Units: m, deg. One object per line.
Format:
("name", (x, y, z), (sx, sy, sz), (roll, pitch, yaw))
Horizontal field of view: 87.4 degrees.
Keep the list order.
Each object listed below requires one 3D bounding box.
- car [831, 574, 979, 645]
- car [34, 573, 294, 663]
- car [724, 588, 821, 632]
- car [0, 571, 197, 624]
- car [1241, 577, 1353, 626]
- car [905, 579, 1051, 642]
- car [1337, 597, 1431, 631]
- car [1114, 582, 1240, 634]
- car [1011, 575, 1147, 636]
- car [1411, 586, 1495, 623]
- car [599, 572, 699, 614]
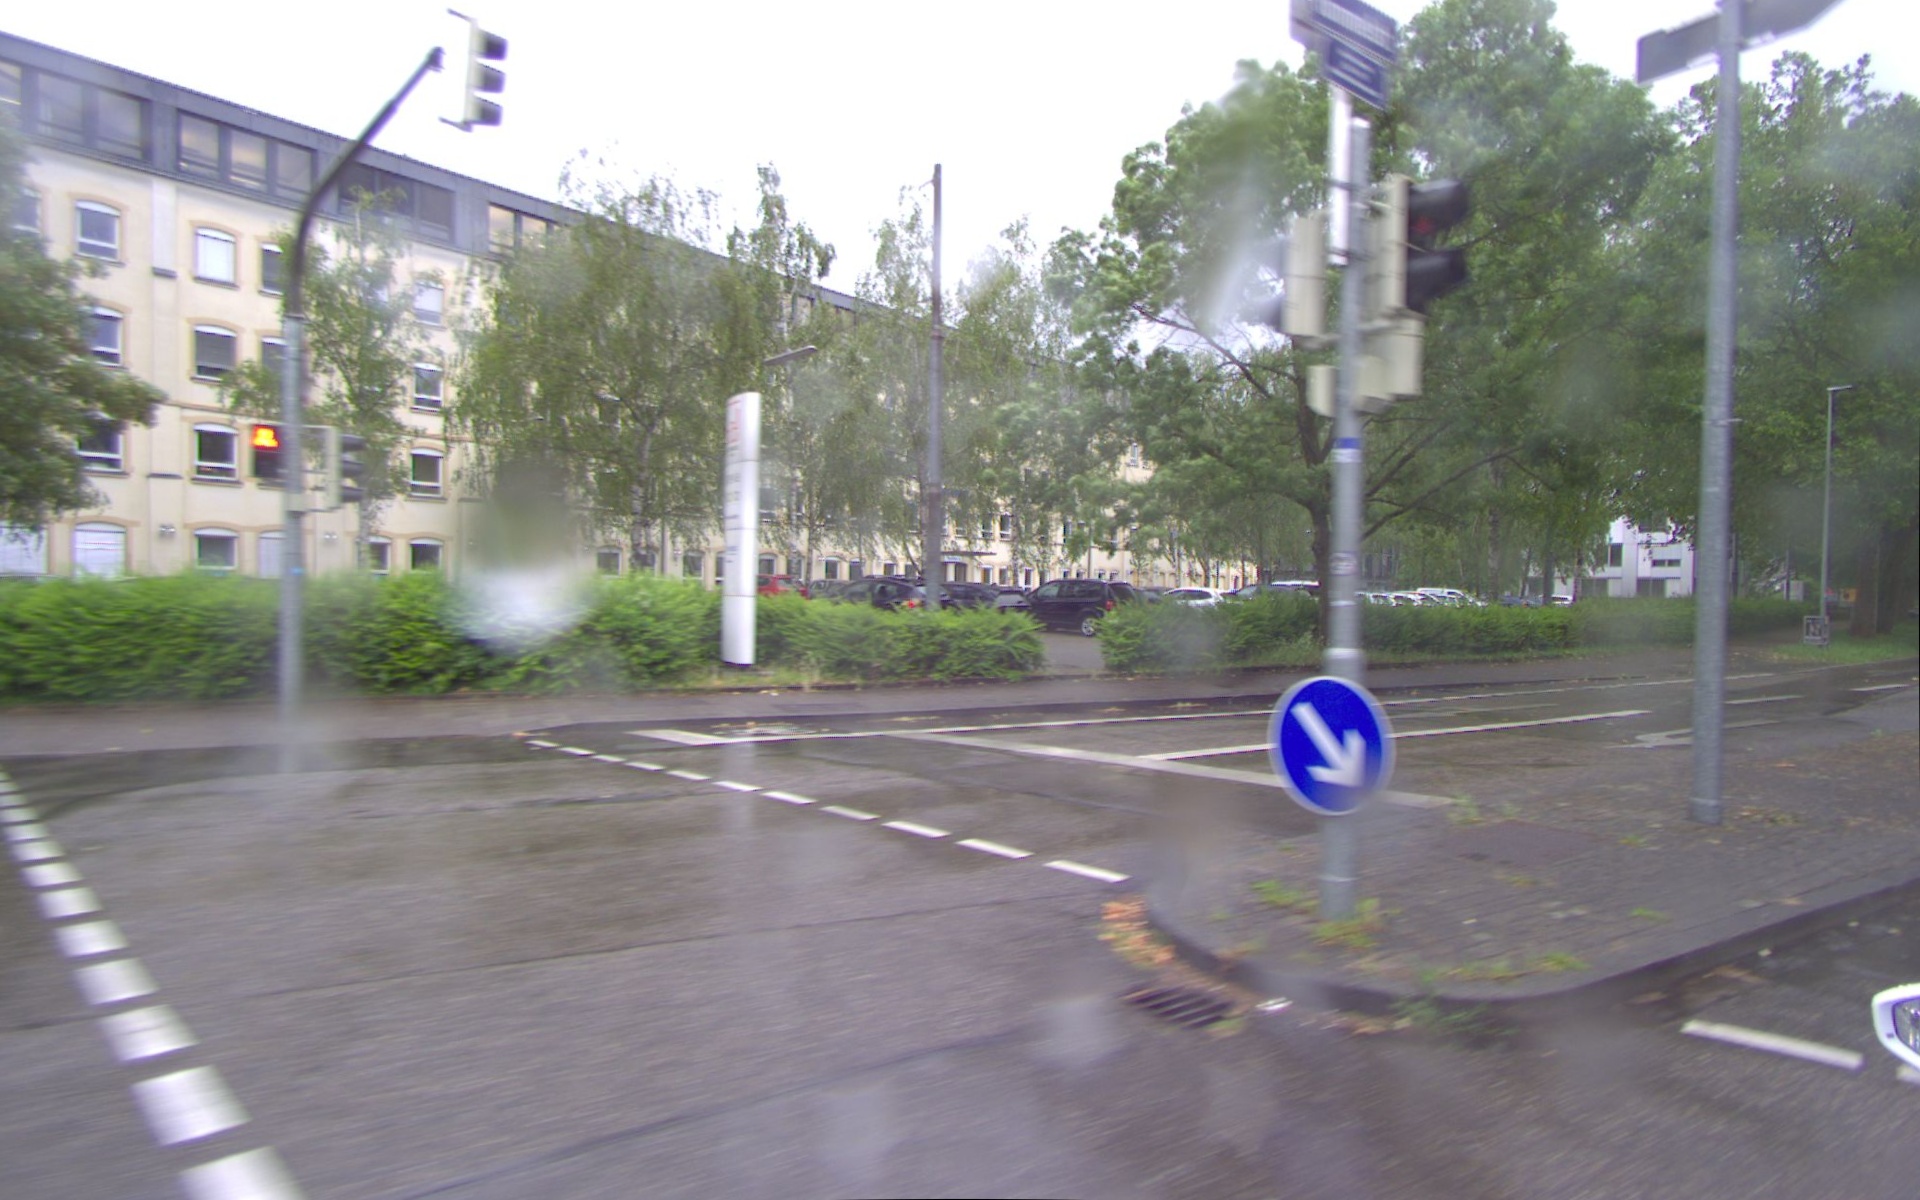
("car", (-1.436, 0.178, 24.651), (1.904, 1.558, 3.963), (0, 2, -33))
("car", (-16.607, 0.334, 21.130), (1.754, 1.709, 4.008), (1, 0, 38))
("car", (-7.679, 0.384, 40.968), (3.945, 1.709, 1.988), (1, 1, 44))
("car", (-26.684, -0.092, 31.201), (1.972, 1.520, 4.505), (3, 2, 43))
("car", (13.825, 0.013, 41.290), (3.942, 1.858, 1.845), (3, 2, 42))
("car", (0.378, 0.224, 26.122), (1.904, 1.442, 3.963), (0, 2, -33))
("car", (21.271, 0.676, 50.500), (1.872, 1.571, 3.950), (0, 1, -42))
("car", (7.755, 0.245, 36.112), (3.941, 1.660, 1.989), (3, 2, 42))
("car", (3.467, 0.117, 29.824), (1.638, 1.633, 3.951), (0, 2, -41))
("car", (28.511, 0.235, 58.116), (1.987, 2.040, 3.948), (0, 1, -44))
("car", (-11.878, -0.268, 38.251), (3.944, 1.539, 1.988), (1, 1, 43))
